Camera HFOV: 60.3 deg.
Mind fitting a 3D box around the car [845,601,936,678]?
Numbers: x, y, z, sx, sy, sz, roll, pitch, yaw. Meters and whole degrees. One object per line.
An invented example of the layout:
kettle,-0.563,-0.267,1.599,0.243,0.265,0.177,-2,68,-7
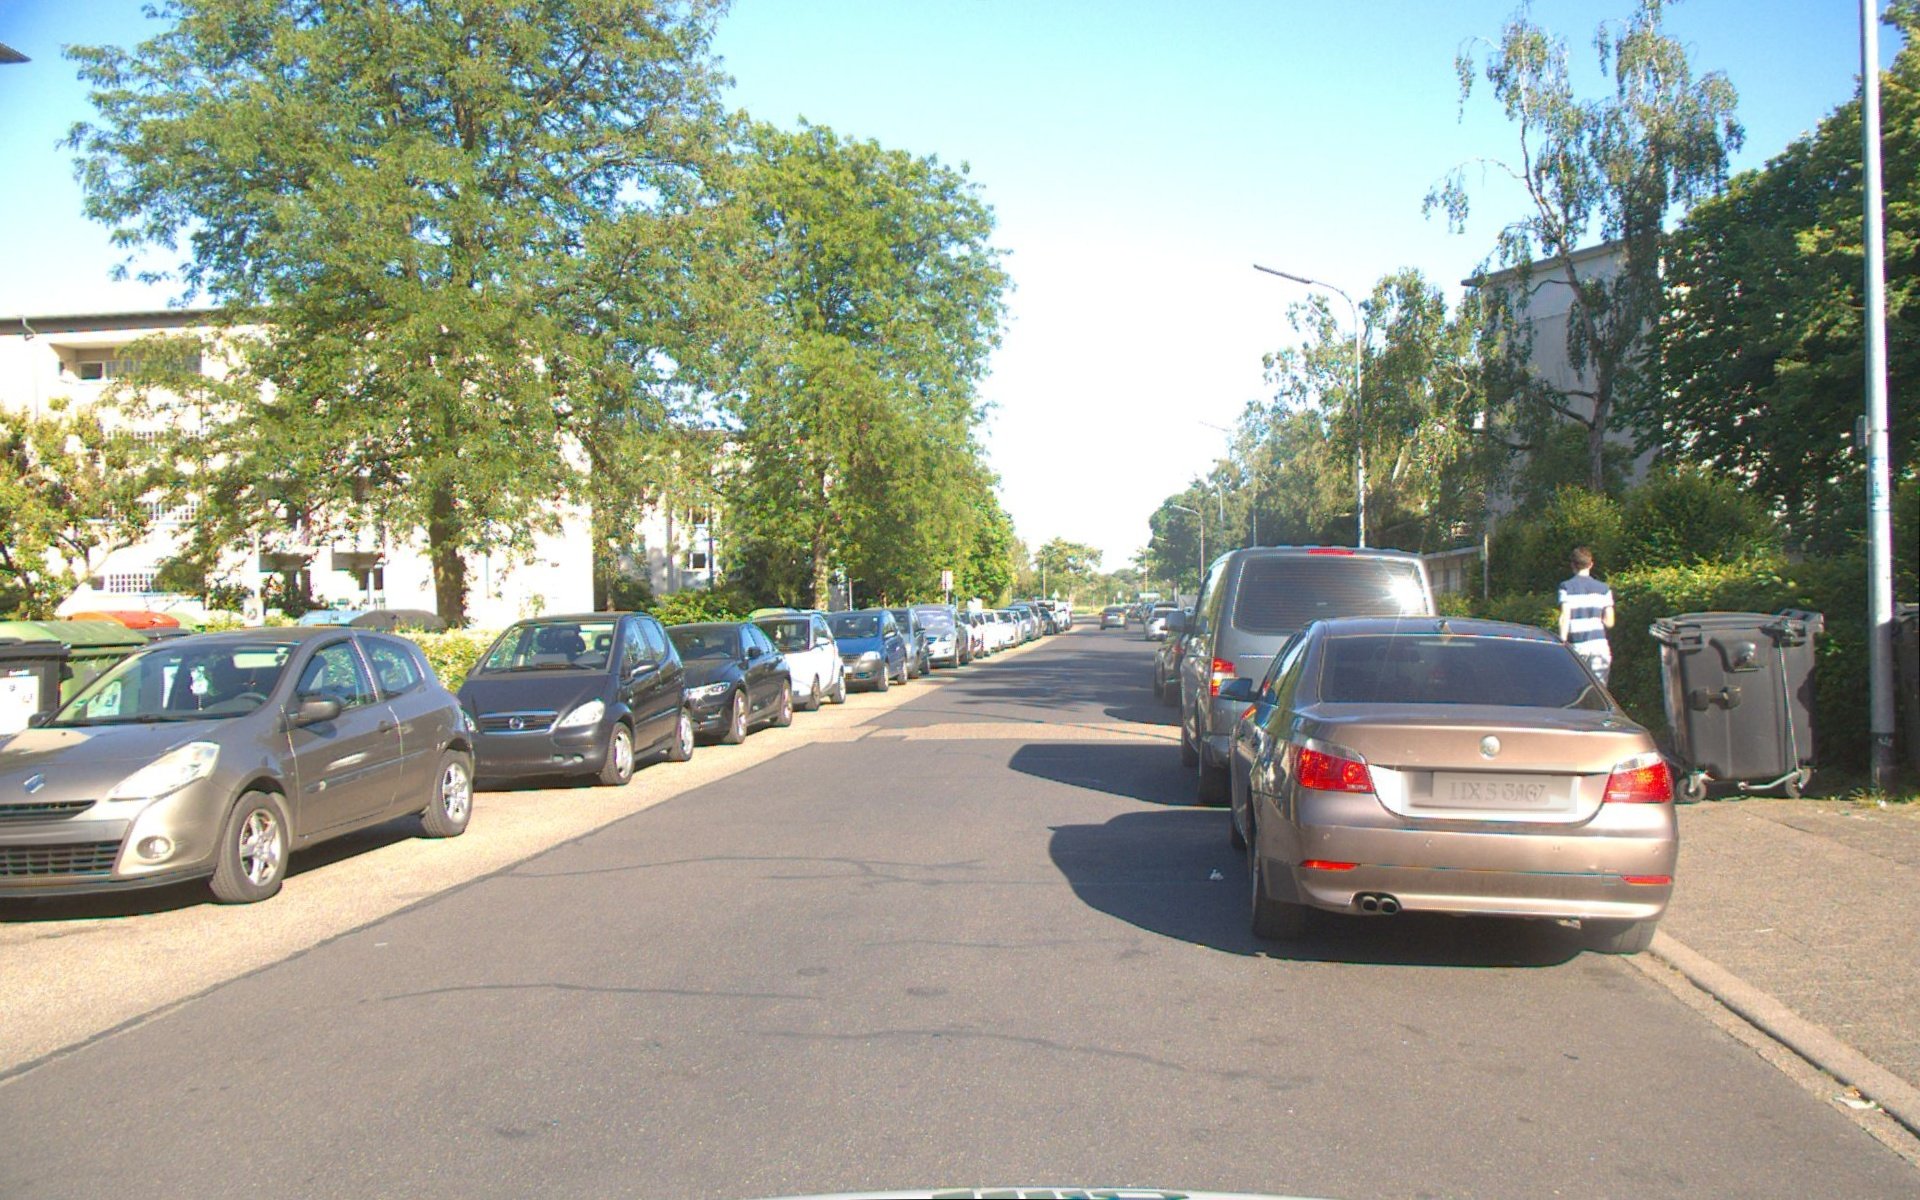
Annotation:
car,-1.560,0.880,38.187,1.601,1.634,3.537,-2,0,5

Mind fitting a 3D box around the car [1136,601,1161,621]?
car,15.268,0.898,134.163,1.758,1.589,3.953,0,0,4

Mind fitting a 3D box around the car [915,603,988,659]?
car,-0.210,0.902,49.246,1.627,1.540,3.948,-2,0,7

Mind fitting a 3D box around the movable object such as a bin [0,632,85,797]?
movable object such as a bin,-8.287,0.940,13.823,1.152,1.310,1.344,-1,0,6

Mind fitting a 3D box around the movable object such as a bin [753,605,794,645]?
movable object such as a bin,-7.020,0.921,62.298,1.152,1.445,1.463,1,0,8

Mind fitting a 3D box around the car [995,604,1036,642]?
car,2.593,1.035,76.325,1.674,1.628,3.988,-3,0,4

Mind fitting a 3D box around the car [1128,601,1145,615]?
car,20.151,0.888,189.427,1.758,1.576,3.953,0,0,4

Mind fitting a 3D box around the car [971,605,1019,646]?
car,1.426,1.006,66.054,1.651,1.532,3.820,-2,0,4

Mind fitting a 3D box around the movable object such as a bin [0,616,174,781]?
movable object such as a bin,-8.161,0.875,15.195,1.152,1.432,1.344,-1,0,6

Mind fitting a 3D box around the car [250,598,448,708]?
car,-9.890,0.810,27.097,1.537,1.669,4.002,0,0,4

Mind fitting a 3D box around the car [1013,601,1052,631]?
car,4.069,0.871,91.894,1.709,1.560,4.142,-2,0,8

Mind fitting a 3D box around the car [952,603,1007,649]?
car,0.743,0.932,60.380,1.651,1.561,3.893,-2,0,5

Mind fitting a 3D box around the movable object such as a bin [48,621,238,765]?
movable object such as a bin,-8.174,0.907,16.613,1.152,1.363,1.344,-1,0,7

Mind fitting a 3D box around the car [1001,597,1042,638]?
car,3.127,0.845,82.776,1.815,1.925,4.420,-2,0,4

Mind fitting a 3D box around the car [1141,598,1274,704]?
car,3.915,0.757,26.822,1.695,1.516,4.503,-2,0,3

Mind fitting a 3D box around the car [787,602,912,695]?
car,-2.121,0.912,32.829,1.717,1.634,3.971,-3,0,7

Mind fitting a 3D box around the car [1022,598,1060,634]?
car,4.842,0.942,98.046,1.874,1.997,5.091,-2,0,6

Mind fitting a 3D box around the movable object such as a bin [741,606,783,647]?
movable object such as a bin,-7.247,0.964,60.606,1.152,1.445,1.463,1,0,8

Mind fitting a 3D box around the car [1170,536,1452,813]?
car,2.808,0.529,14.215,1.813,1.968,4.707,0,0,5

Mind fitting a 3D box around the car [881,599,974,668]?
car,-0.796,0.846,43.580,1.863,1.668,4.352,-2,0,6

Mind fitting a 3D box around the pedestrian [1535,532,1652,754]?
pedestrian,5.728,0.379,15.003,0.688,1.921,0.873,-3,-1,7

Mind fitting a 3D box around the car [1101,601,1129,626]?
car,9.870,0.876,105.697,1.644,1.540,4.106,1,0,3

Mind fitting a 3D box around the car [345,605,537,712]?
car,-8.072,0.859,26.085,1.537,1.552,4.002,0,0,4

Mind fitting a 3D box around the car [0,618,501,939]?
car,-4.494,0.935,10.218,1.717,1.506,3.962,-3,0,7

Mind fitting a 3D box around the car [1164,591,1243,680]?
car,4.941,0.699,33.831,1.457,1.748,2.585,0,0,5

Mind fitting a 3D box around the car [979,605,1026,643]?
car,1.882,1.012,71.590,1.651,1.490,4.528,-3,0,5

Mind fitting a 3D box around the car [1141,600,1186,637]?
car,8.845,0.781,72.174,1.716,1.540,4.106,1,0,3

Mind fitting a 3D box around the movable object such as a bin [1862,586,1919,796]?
movable object such as a bin,6.982,0.587,11.194,1.197,1.389,1.134,-1,0,9

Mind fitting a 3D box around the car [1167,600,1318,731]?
car,3.557,0.766,21.374,1.588,1.516,4.038,0,0,5

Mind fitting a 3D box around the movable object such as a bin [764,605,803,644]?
movable object such as a bin,-6.801,0.933,63.804,1.152,1.445,1.463,1,0,8

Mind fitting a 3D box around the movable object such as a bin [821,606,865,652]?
movable object such as a bin,-3.701,0.901,52.470,1.112,1.407,1.443,1,0,7

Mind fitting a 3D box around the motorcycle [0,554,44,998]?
motorcycle,-4.943,0.761,6.395,2.209,1.757,0.933,-4,-1,3

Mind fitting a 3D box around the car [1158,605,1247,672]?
car,5.492,0.848,37.848,1.695,1.428,3.897,0,0,3

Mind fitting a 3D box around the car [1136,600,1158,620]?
car,16.951,0.880,150.028,1.758,1.818,3.953,0,0,4

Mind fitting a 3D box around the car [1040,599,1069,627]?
car,6.392,0.871,111.789,1.709,1.762,4.008,-2,0,6

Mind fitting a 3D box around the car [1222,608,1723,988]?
car,2.348,0.775,8.758,1.762,1.443,4.639,0,0,7

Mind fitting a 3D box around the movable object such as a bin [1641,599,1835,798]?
movable object such as a bin,5.750,0.704,12.321,1.004,1.333,1.388,-4,-1,16

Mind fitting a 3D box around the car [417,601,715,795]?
car,-3.721,0.863,16.288,1.717,1.601,3.722,-3,0,4

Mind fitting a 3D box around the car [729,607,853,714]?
car,-2.746,0.956,27.496,1.414,1.601,3.144,-3,0,5

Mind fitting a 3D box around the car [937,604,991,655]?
car,0.118,0.926,53.895,1.629,1.540,3.537,-2,0,0

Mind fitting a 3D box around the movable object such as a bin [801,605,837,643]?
movable object such as a bin,-5.484,0.931,64.250,1.110,1.445,1.362,1,0,7

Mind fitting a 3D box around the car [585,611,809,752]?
car,-3.221,0.949,21.177,1.717,1.506,4.540,-3,0,5
